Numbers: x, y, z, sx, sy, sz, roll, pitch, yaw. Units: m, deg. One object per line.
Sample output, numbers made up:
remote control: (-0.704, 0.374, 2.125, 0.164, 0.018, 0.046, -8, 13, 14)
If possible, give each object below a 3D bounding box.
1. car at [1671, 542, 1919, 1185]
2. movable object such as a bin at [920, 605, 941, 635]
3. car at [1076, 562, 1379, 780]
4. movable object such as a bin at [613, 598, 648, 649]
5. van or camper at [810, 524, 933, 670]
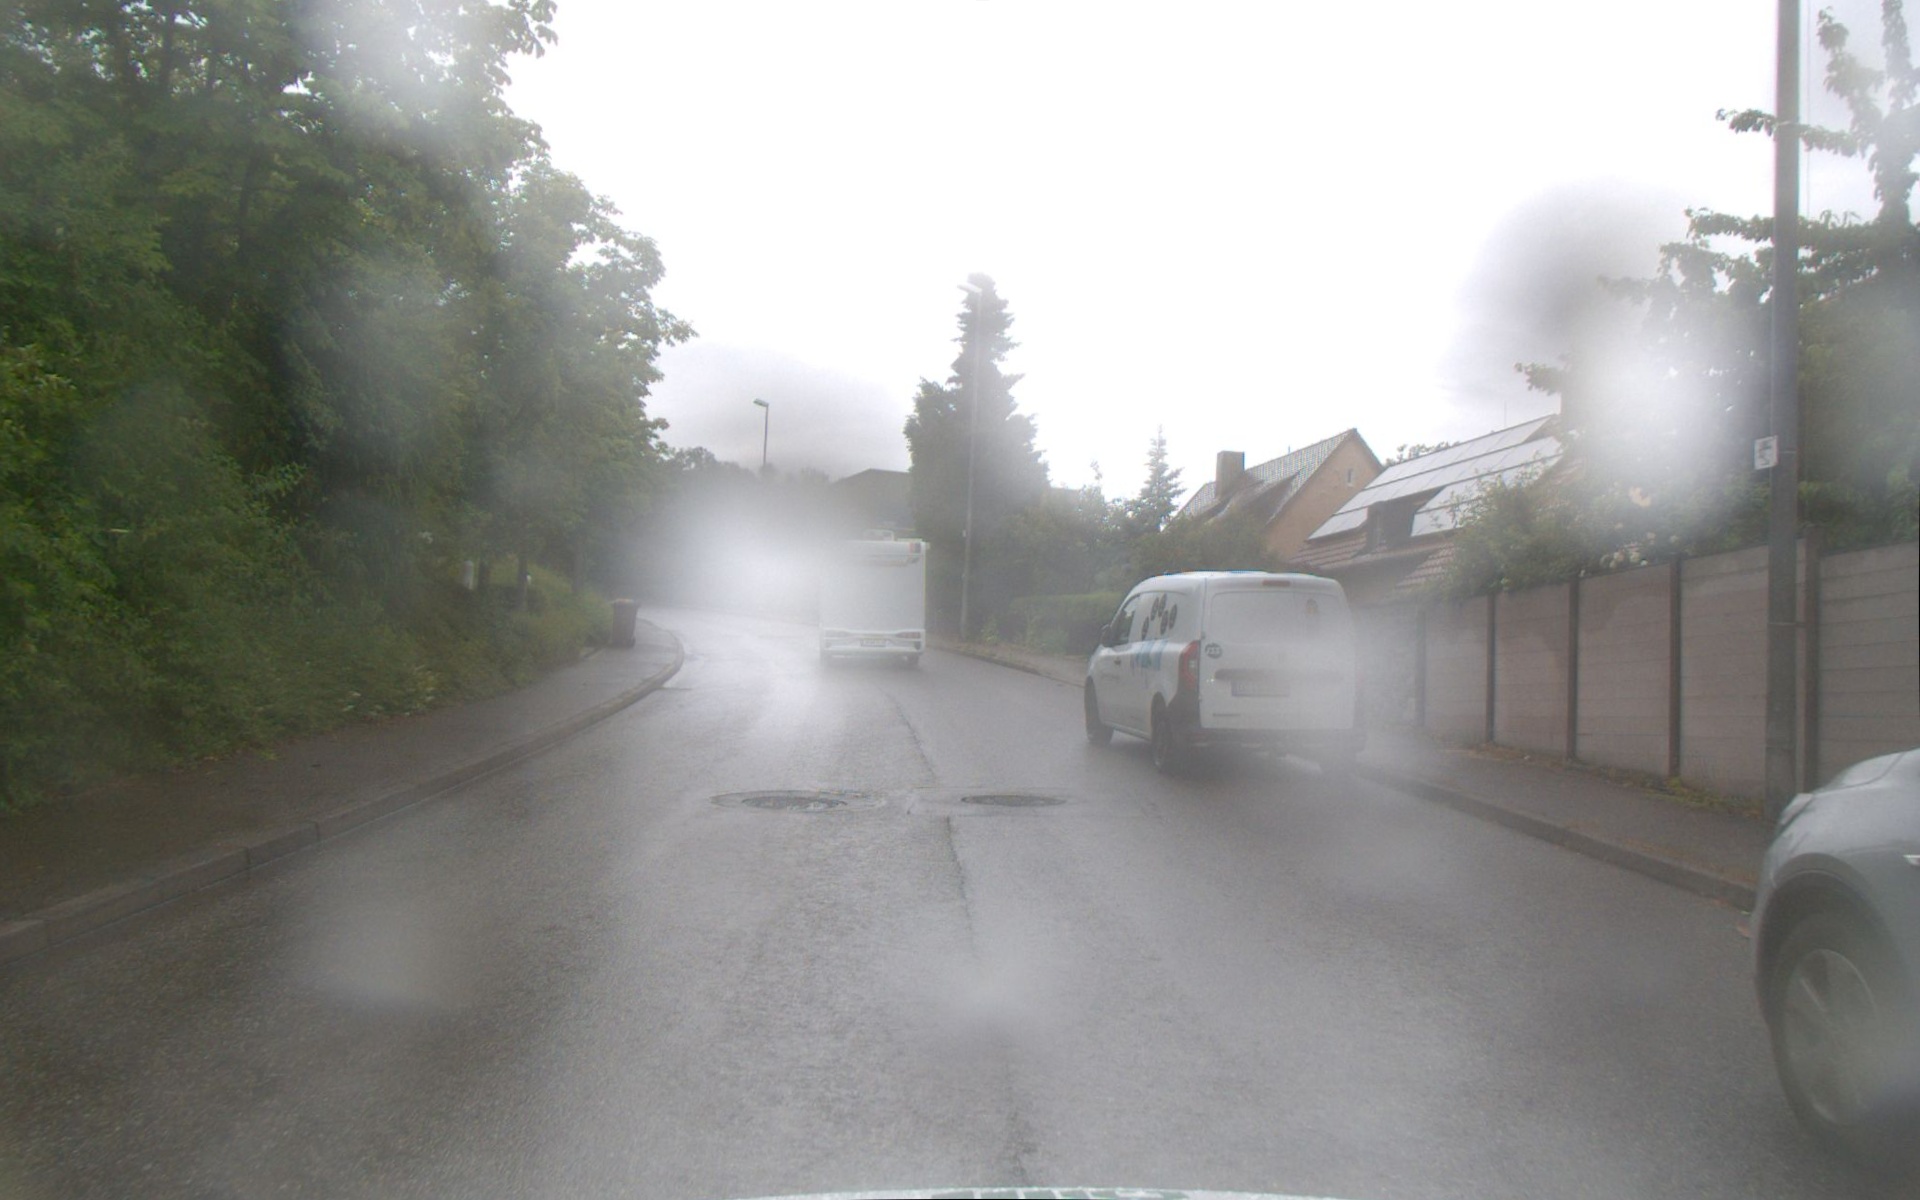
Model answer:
car: (3.369, 0.666, 3.489, 1.768, 1.655, 4.286, -1, 0, -2)
movable object such as a bin: (-1.027, 0.682, 57.137, 0.496, 0.986, 0.592, 5, -1, -16)
car: (2.454, 0.613, 16.437, 1.745, 1.835, 4.700, 1, 0, -7)
movable object such as a bin: (-7.862, 0.546, 39.519, 0.681, 1.109, 0.802, 4, 4, -5)
van or camper: (-2.046, -0.051, 37.165, 2.490, 2.976, 5.942, 1, 0, -4)
